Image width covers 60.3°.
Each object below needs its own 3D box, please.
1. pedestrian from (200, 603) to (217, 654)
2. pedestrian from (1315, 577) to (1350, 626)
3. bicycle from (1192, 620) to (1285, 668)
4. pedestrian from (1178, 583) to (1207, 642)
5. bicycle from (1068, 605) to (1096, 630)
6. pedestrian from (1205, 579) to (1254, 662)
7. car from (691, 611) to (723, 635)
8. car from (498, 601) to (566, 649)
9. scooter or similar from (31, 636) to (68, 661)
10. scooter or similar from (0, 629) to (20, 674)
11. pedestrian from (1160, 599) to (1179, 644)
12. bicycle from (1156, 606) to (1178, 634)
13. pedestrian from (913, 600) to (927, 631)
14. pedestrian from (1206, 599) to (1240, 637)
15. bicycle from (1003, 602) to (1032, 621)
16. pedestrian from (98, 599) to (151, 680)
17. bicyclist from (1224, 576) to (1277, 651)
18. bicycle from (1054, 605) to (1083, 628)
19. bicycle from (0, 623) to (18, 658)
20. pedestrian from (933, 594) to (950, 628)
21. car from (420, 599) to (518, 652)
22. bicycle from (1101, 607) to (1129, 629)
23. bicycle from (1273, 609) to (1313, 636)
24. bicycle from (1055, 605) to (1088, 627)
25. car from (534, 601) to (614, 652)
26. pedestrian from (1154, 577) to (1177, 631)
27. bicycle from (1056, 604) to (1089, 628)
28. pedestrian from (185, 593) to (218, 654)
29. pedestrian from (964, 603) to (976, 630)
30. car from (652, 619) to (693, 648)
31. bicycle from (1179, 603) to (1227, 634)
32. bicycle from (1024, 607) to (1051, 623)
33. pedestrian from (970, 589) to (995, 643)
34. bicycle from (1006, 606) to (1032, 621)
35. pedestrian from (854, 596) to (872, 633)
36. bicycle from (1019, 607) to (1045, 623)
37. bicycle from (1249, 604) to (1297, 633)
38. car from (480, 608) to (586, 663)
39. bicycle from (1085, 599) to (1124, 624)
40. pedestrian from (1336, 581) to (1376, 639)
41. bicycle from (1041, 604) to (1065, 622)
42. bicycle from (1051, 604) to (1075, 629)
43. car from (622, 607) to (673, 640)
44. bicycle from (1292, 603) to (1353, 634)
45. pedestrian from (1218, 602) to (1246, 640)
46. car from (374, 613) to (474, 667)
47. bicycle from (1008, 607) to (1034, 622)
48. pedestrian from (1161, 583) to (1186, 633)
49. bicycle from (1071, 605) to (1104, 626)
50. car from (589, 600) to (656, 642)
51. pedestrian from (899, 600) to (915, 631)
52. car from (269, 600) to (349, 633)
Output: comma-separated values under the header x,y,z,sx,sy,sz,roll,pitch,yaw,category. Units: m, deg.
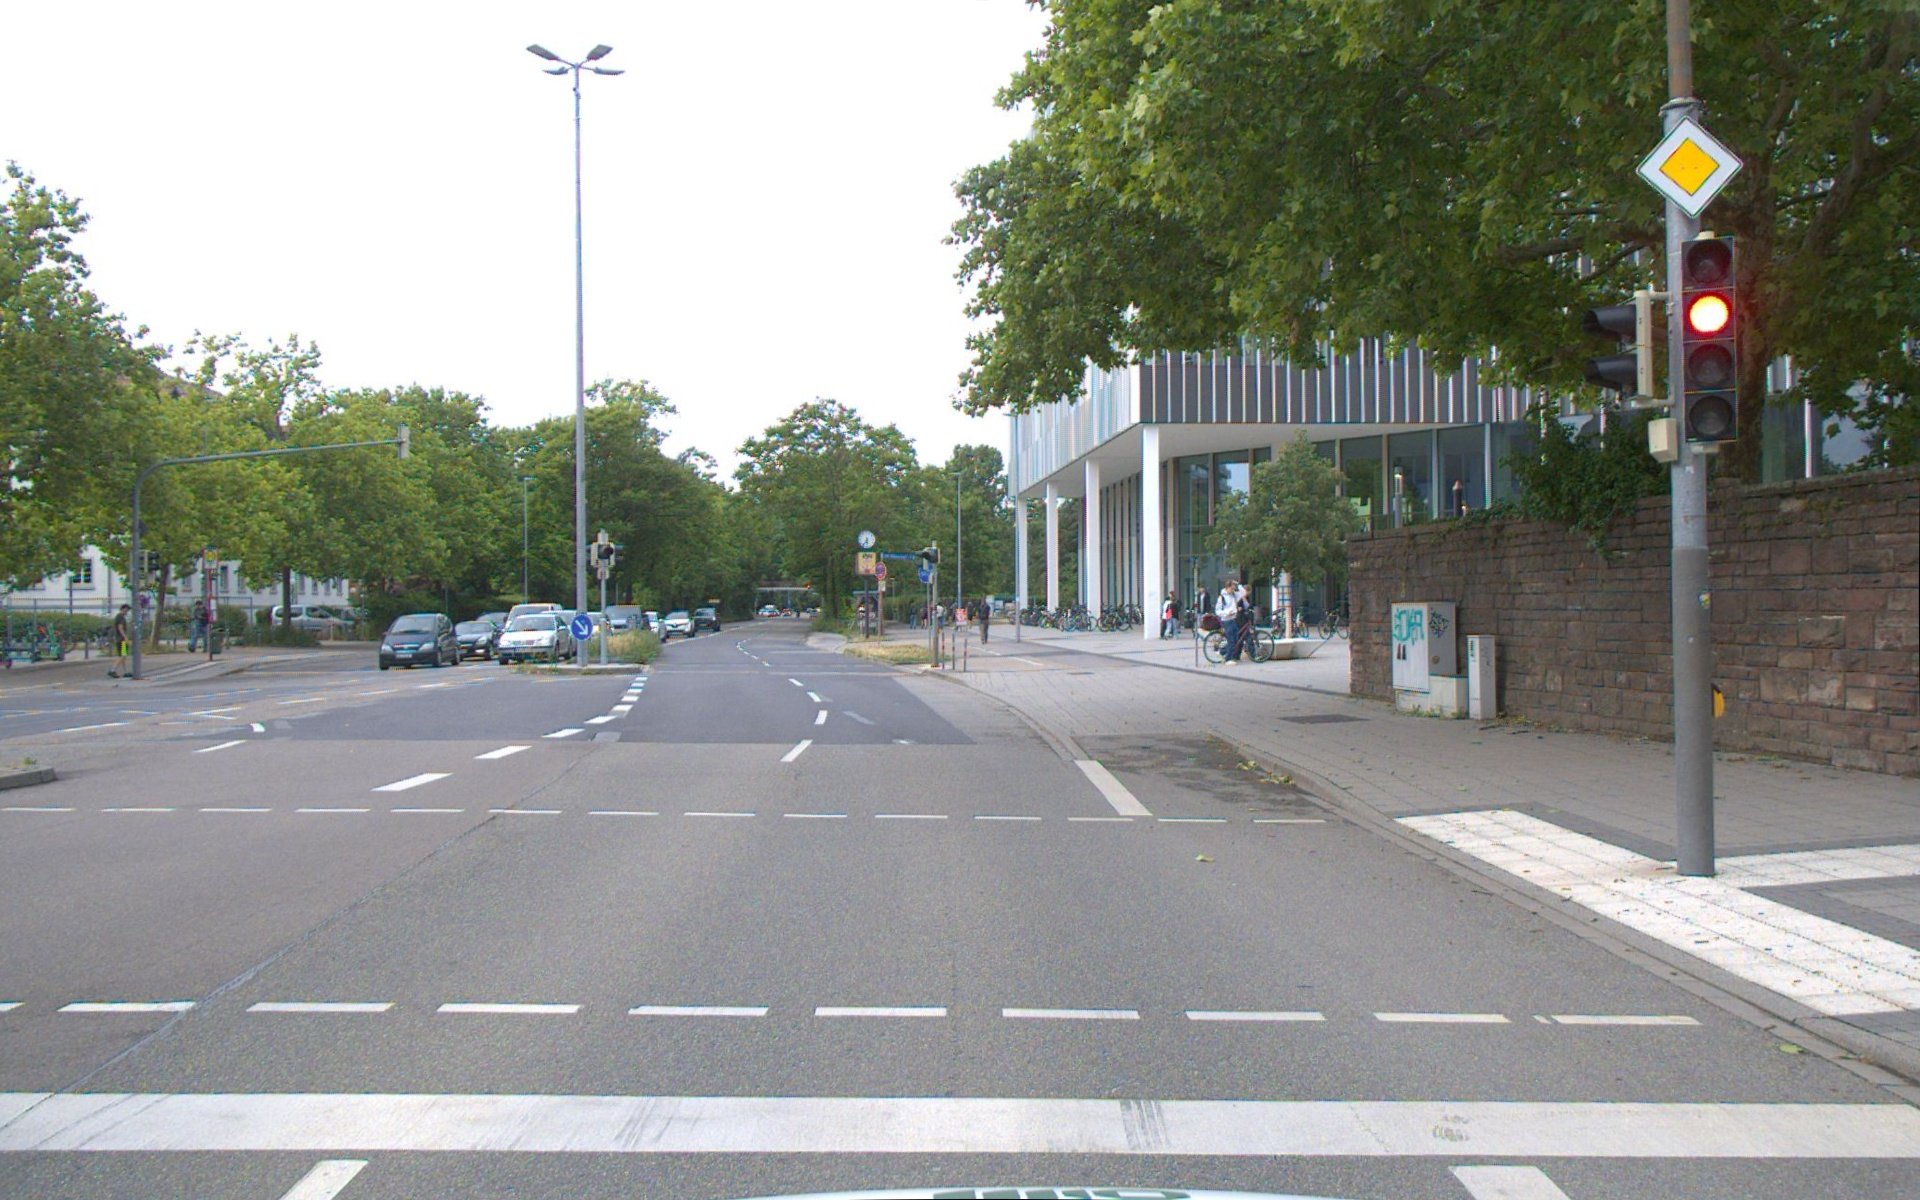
x,y,z,sx,sy,sz,roll,pitch,yaw,category
-26.390,1.008,58.070,0.412,1.769,0.433,1,-1,-11,pedestrian
16.162,0.084,71.760,1.160,2.098,1.133,1,-1,31,pedestrian
6.347,0.989,37.668,1.935,1.036,0.793,1,0,34,bicycle
8.160,0.437,58.107,0.826,2.049,0.894,-1,0,-3,pedestrian
5.669,0.801,76.775,0.598,1.099,1.954,-3,0,-16,bicycle
5.991,0.450,36.776,0.768,1.827,0.786,-1,-1,38,pedestrian
-17.973,1.591,117.661,1.866,1.621,4.512,-1,0,-5,car
-17.252,0.986,66.877,1.736,1.880,4.486,1,0,-3,car
-27.199,1.449,49.434,0.398,0.706,1.288,1,0,-2,scooter or similar
-25.374,1.369,43.731,0.353,1.160,1.318,-1,0,-5,scooter or similar
7.893,0.793,62.285,0.661,1.670,0.654,-1,0,8,pedestrian
8.093,0.773,64.692,0.625,1.080,1.840,1,0,0,bicycle
-2.679,1.057,110.583,0.809,2.049,0.719,-1,0,-9,pedestrian
8.640,0.600,54.256,0.826,1.227,0.893,-1,0,29,pedestrian
3.727,0.743,106.652,1.760,1.100,0.625,-3,0,-7,bicycle
-21.519,1.004,42.611,0.877,2.049,1.008,-1,0,-7,pedestrian
6.590,0.312,37.554,0.950,1.674,0.733,1,-1,35,bicyclist
5.460,0.824,83.168,1.373,1.062,0.558,-3,0,-4,bicycle
-33.168,1.395,56.138,2.002,1.173,0.716,-1,0,-23,bicycle
-1.135,0.668,102.004,0.907,2.049,1.039,-1,0,-5,pedestrian
-16.313,0.818,55.126,1.952,1.648,4.001,-1,0,2,car
7.037,0.824,75.059,1.477,0.945,0.433,-2,2,-44,bicycle
11.848,0.801,58.850,0.659,0.914,1.839,-1,0,36,bicycle
5.639,0.814,83.754,1.575,0.999,0.556,-4,0,-5,bicycle
-13.612,0.903,58.531,1.918,1.611,4.254,-2,1,-2,car
7.840,0.159,63.102,0.634,2.049,0.654,-1,0,-14,pedestrian
5.792,0.818,85.355,1.610,1.110,0.572,-4,0,4,bicycle
-25.693,0.794,56.033,0.787,2.049,0.923,1,-1,-11,pedestrian
0.604,1.022,102.694,0.714,1.713,0.747,1,-1,-1,pedestrian
-16.802,1.927,96.764,1.955,1.574,4.175,-2,0,-5,car
9.202,0.702,62.636,0.723,1.135,2.170,-1,0,42,bicycle
4.722,0.907,100.971,1.575,0.890,0.556,-2,0,-4,bicycle
0.853,0.608,64.074,0.826,2.049,0.894,-3,0,-3,pedestrian
3.750,0.829,104.651,1.575,0.890,0.556,-2,0,-4,bicycle
-5.556,0.811,94.658,0.895,2.048,0.853,-3,2,-6,pedestrian
4.451,0.923,102.140,1.575,0.890,0.556,-2,0,-4,bicycle
11.248,0.656,59.462,0.761,1.019,1.947,-1,0,43,bicycle
-12.825,1.043,49.942,1.952,1.556,4.275,-1,0,2,car
7.485,0.601,85.586,1.948,1.164,0.646,-3,0,37,bicycle
12.722,0.320,53.153,0.836,1.868,0.883,-1,-1,-36,pedestrian
5.070,0.702,90.107,1.258,0.890,0.556,-2,0,-4,bicycle
4.959,0.778,79.526,0.624,1.160,2.196,-4,0,-9,bicycle
-14.900,1.112,78.998,1.866,1.491,4.906,1,0,-5,car
12.508,0.636,57.035,2.166,1.024,0.772,-1,-2,-35,bicycle
9.033,0.690,54.889,0.872,1.214,0.846,-1,0,9,pedestrian
-15.831,1.163,49.024,1.815,1.489,3.696,-1,0,-1,car
3.842,0.906,103.697,1.575,0.890,0.556,-2,0,-4,bicycle
8.971,0.339,69.465,0.874,2.049,0.844,-1,0,-4,pedestrian
6.347,0.780,82.417,1.572,0.952,0.569,-3,0,6,bicycle
-14.459,0.892,71.098,1.953,1.717,4.946,1,0,-1,car
-3.551,1.030,110.406,0.908,2.049,1.037,-1,0,-9,pedestrian
-33.678,0.841,85.591,3.517,1.630,1.649,1,0,-7,car
